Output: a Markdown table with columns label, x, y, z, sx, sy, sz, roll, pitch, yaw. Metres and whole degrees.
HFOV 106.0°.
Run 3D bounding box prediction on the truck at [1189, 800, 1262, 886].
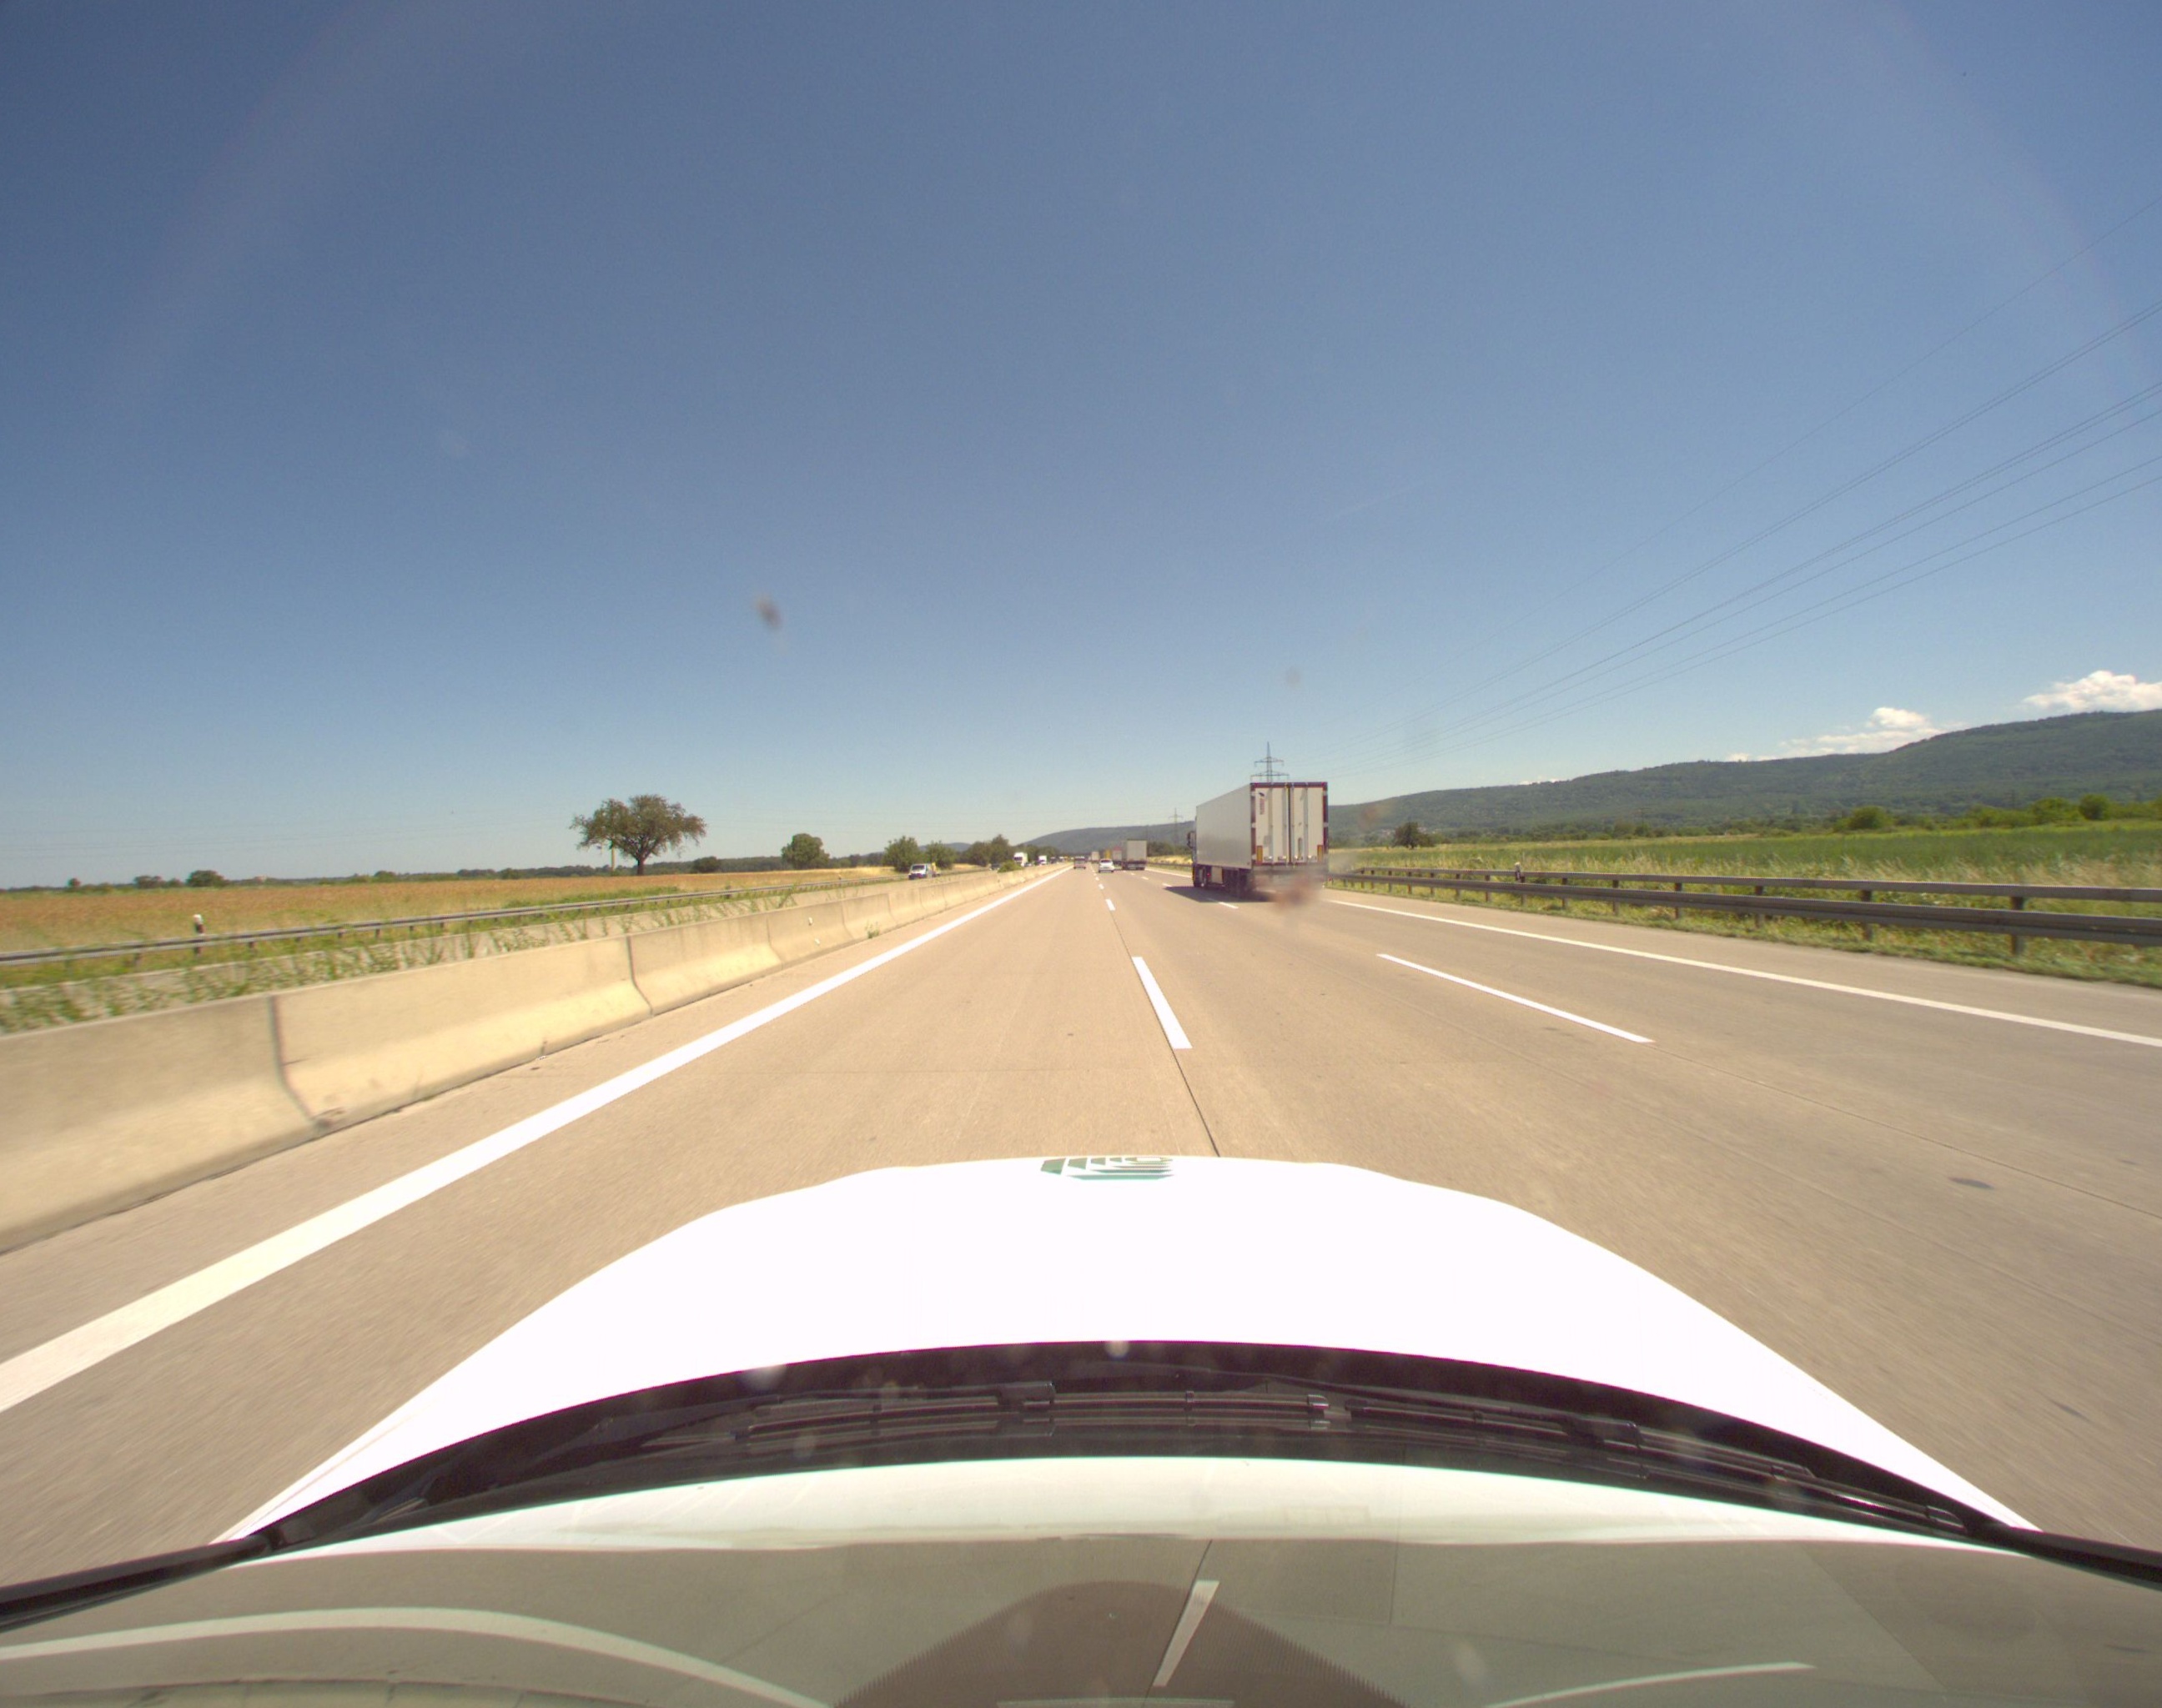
| label | x | y | z | sx | sy | sz | roll | pitch | yaw |
| --- | --- | --- | --- | --- | --- | --- | --- | --- | --- |
| truck | 7.161 | -0.510 | 41.096 | 2.741 | 4.044 | 5.466 | 0 | -1 | 1 |

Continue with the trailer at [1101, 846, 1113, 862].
| label | x | y | z | sx | sy | sz | roll | pitch | yaw |
| --- | --- | --- | --- | --- | --- | --- | --- | --- | --- |
| trailer | 7.579 | 0.052 | 235.392 | 3.205 | 4.564 | 13.457 | 0 | 0 | 1 |

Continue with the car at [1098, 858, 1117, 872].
| label | x | y | z | sx | sy | sz | roll | pitch | yaw |
| --- | --- | --- | --- | --- | --- | --- | --- | --- | --- |
| car | 2.918 | 1.175 | 90.512 | 2.099 | 1.536 | 4.123 | 0 | 0 | 2 |

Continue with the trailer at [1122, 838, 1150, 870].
| label | x | y | z | sx | sy | sz | roll | pitch | yaw |
| --- | --- | --- | --- | --- | --- | --- | --- | --- | --- |
| trailer | 7.386 | 0.050 | 110.850 | 3.007 | 4.061 | 14.208 | 0 | 0 | 1 |

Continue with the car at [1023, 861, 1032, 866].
| label | x | y | z | sx | sy | sz | roll | pitch | yaw |
| --- | --- | --- | --- | --- | --- | --- | --- | --- | --- |
| car | -12.736 | 2.256 | 194.561 | 1.730 | 1.373 | 4.905 | 0 | 0 | 0 |

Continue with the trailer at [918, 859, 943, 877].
| label | x | y | z | sx | sy | sz | roll | pitch | yaw |
| --- | --- | --- | --- | --- | --- | --- | --- | --- | --- |
| trailer | -17.704 | 1.657 | 95.785 | 1.803 | 2.042 | 5.613 | 0 | 0 | 1 |

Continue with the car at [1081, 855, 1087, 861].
| label | x | y | z | sx | sy | sz | roll | pitch | yaw |
| --- | --- | --- | --- | --- | --- | --- | --- | --- | --- |
| car | 0.787 | 1.183 | 240.698 | 1.777 | 1.881 | 4.000 | 0 | 0 | 1 |

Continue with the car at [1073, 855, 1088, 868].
| label | x | y | z | sx | sy | sz | roll | pitch | yaw |
| --- | --- | --- | --- | --- | --- | --- | --- | --- | --- |
| car | -0.075 | 1.233 | 127.505 | 2.246 | 2.014 | 4.298 | 0 | 0 | 1 |

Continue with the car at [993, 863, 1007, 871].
| label | x | y | z | sx | sy | sz | roll | pitch | yaw |
| --- | --- | --- | --- | --- | --- | --- | --- | --- | --- |
| car | -12.725 | 2.036 | 128.395 | 1.707 | 1.359 | 5.042 | 0 | 0 | 0 |

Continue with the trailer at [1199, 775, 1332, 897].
| label | x | y | z | sx | sy | sz | roll | pitch | yaw |
| --- | --- | --- | --- | --- | --- | --- | --- | --- | --- |
| trailer | 7.038 | -0.553 | 33.408 | 2.699 | 4.044 | 12.902 | 0 | 0 | 1 |

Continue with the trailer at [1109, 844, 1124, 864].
| label | x | y | z | sx | sy | sz | roll | pitch | yaw |
| --- | --- | --- | --- | --- | --- | --- | --- | --- | --- |
| trailer | 7.443 | 0.008 | 173.626 | 2.863 | 4.101 | 13.515 | 0 | 0 | 1 |

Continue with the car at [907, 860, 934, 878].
| label | x | y | z | sx | sy | sz | roll | pitch | yaw |
| --- | --- | --- | --- | --- | --- | --- | --- | --- | --- |
| car | -17.767 | 1.649 | 90.506 | 1.859 | 1.944 | 5.565 | 0 | 0 | 1 |
